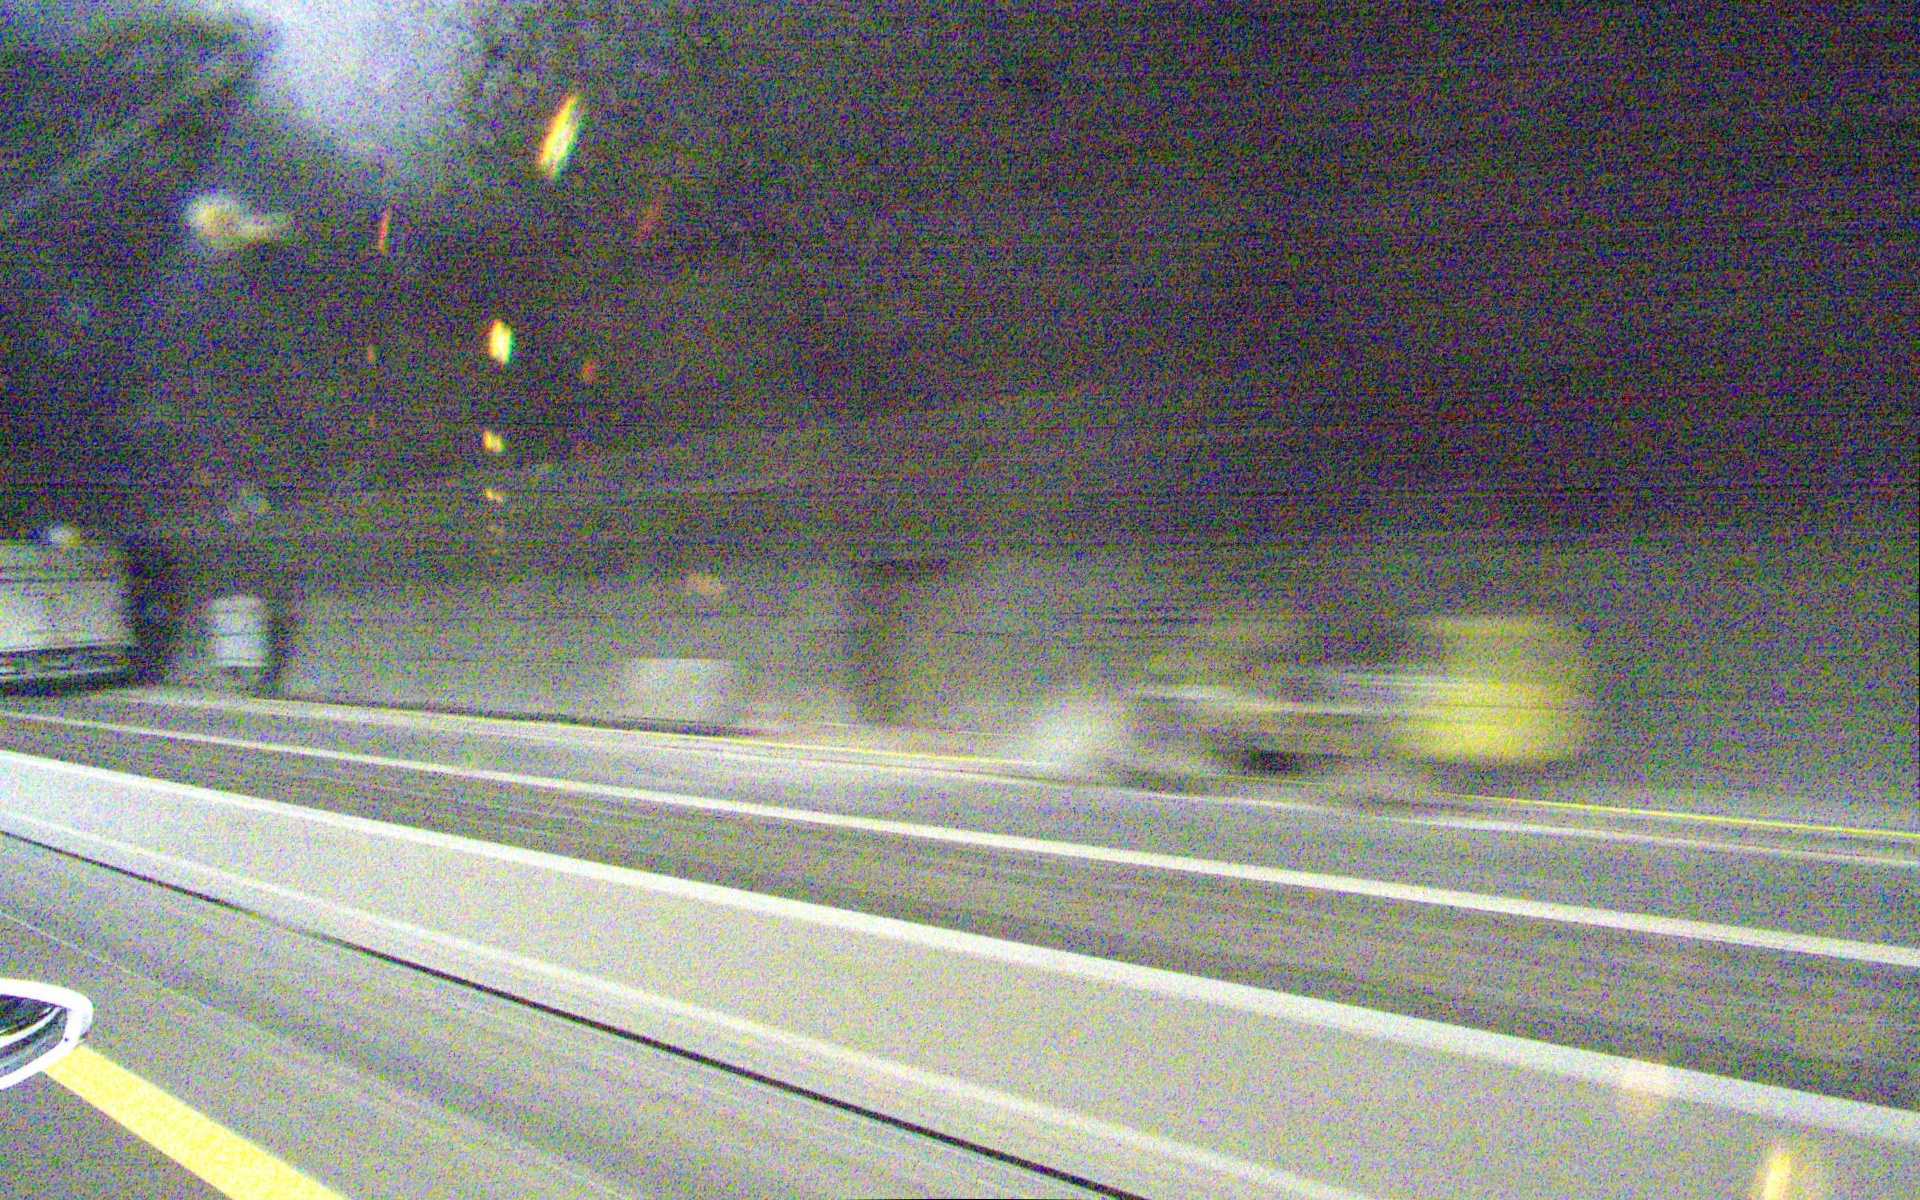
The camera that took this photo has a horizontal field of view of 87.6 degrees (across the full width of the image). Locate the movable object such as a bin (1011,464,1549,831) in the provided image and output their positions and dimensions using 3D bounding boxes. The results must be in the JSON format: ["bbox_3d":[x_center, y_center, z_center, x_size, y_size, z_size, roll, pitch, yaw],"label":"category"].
[{"bbox_3d":[2.608,0.321,8.365,3.942,2.413,1.752,-1,2,32],"label":"movable object such as a bin"}]

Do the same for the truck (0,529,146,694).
[{"bbox_3d":[-22.147,0.329,23.052,8.282,3.314,2.887,-1,-1,33],"label":"truck"}]
